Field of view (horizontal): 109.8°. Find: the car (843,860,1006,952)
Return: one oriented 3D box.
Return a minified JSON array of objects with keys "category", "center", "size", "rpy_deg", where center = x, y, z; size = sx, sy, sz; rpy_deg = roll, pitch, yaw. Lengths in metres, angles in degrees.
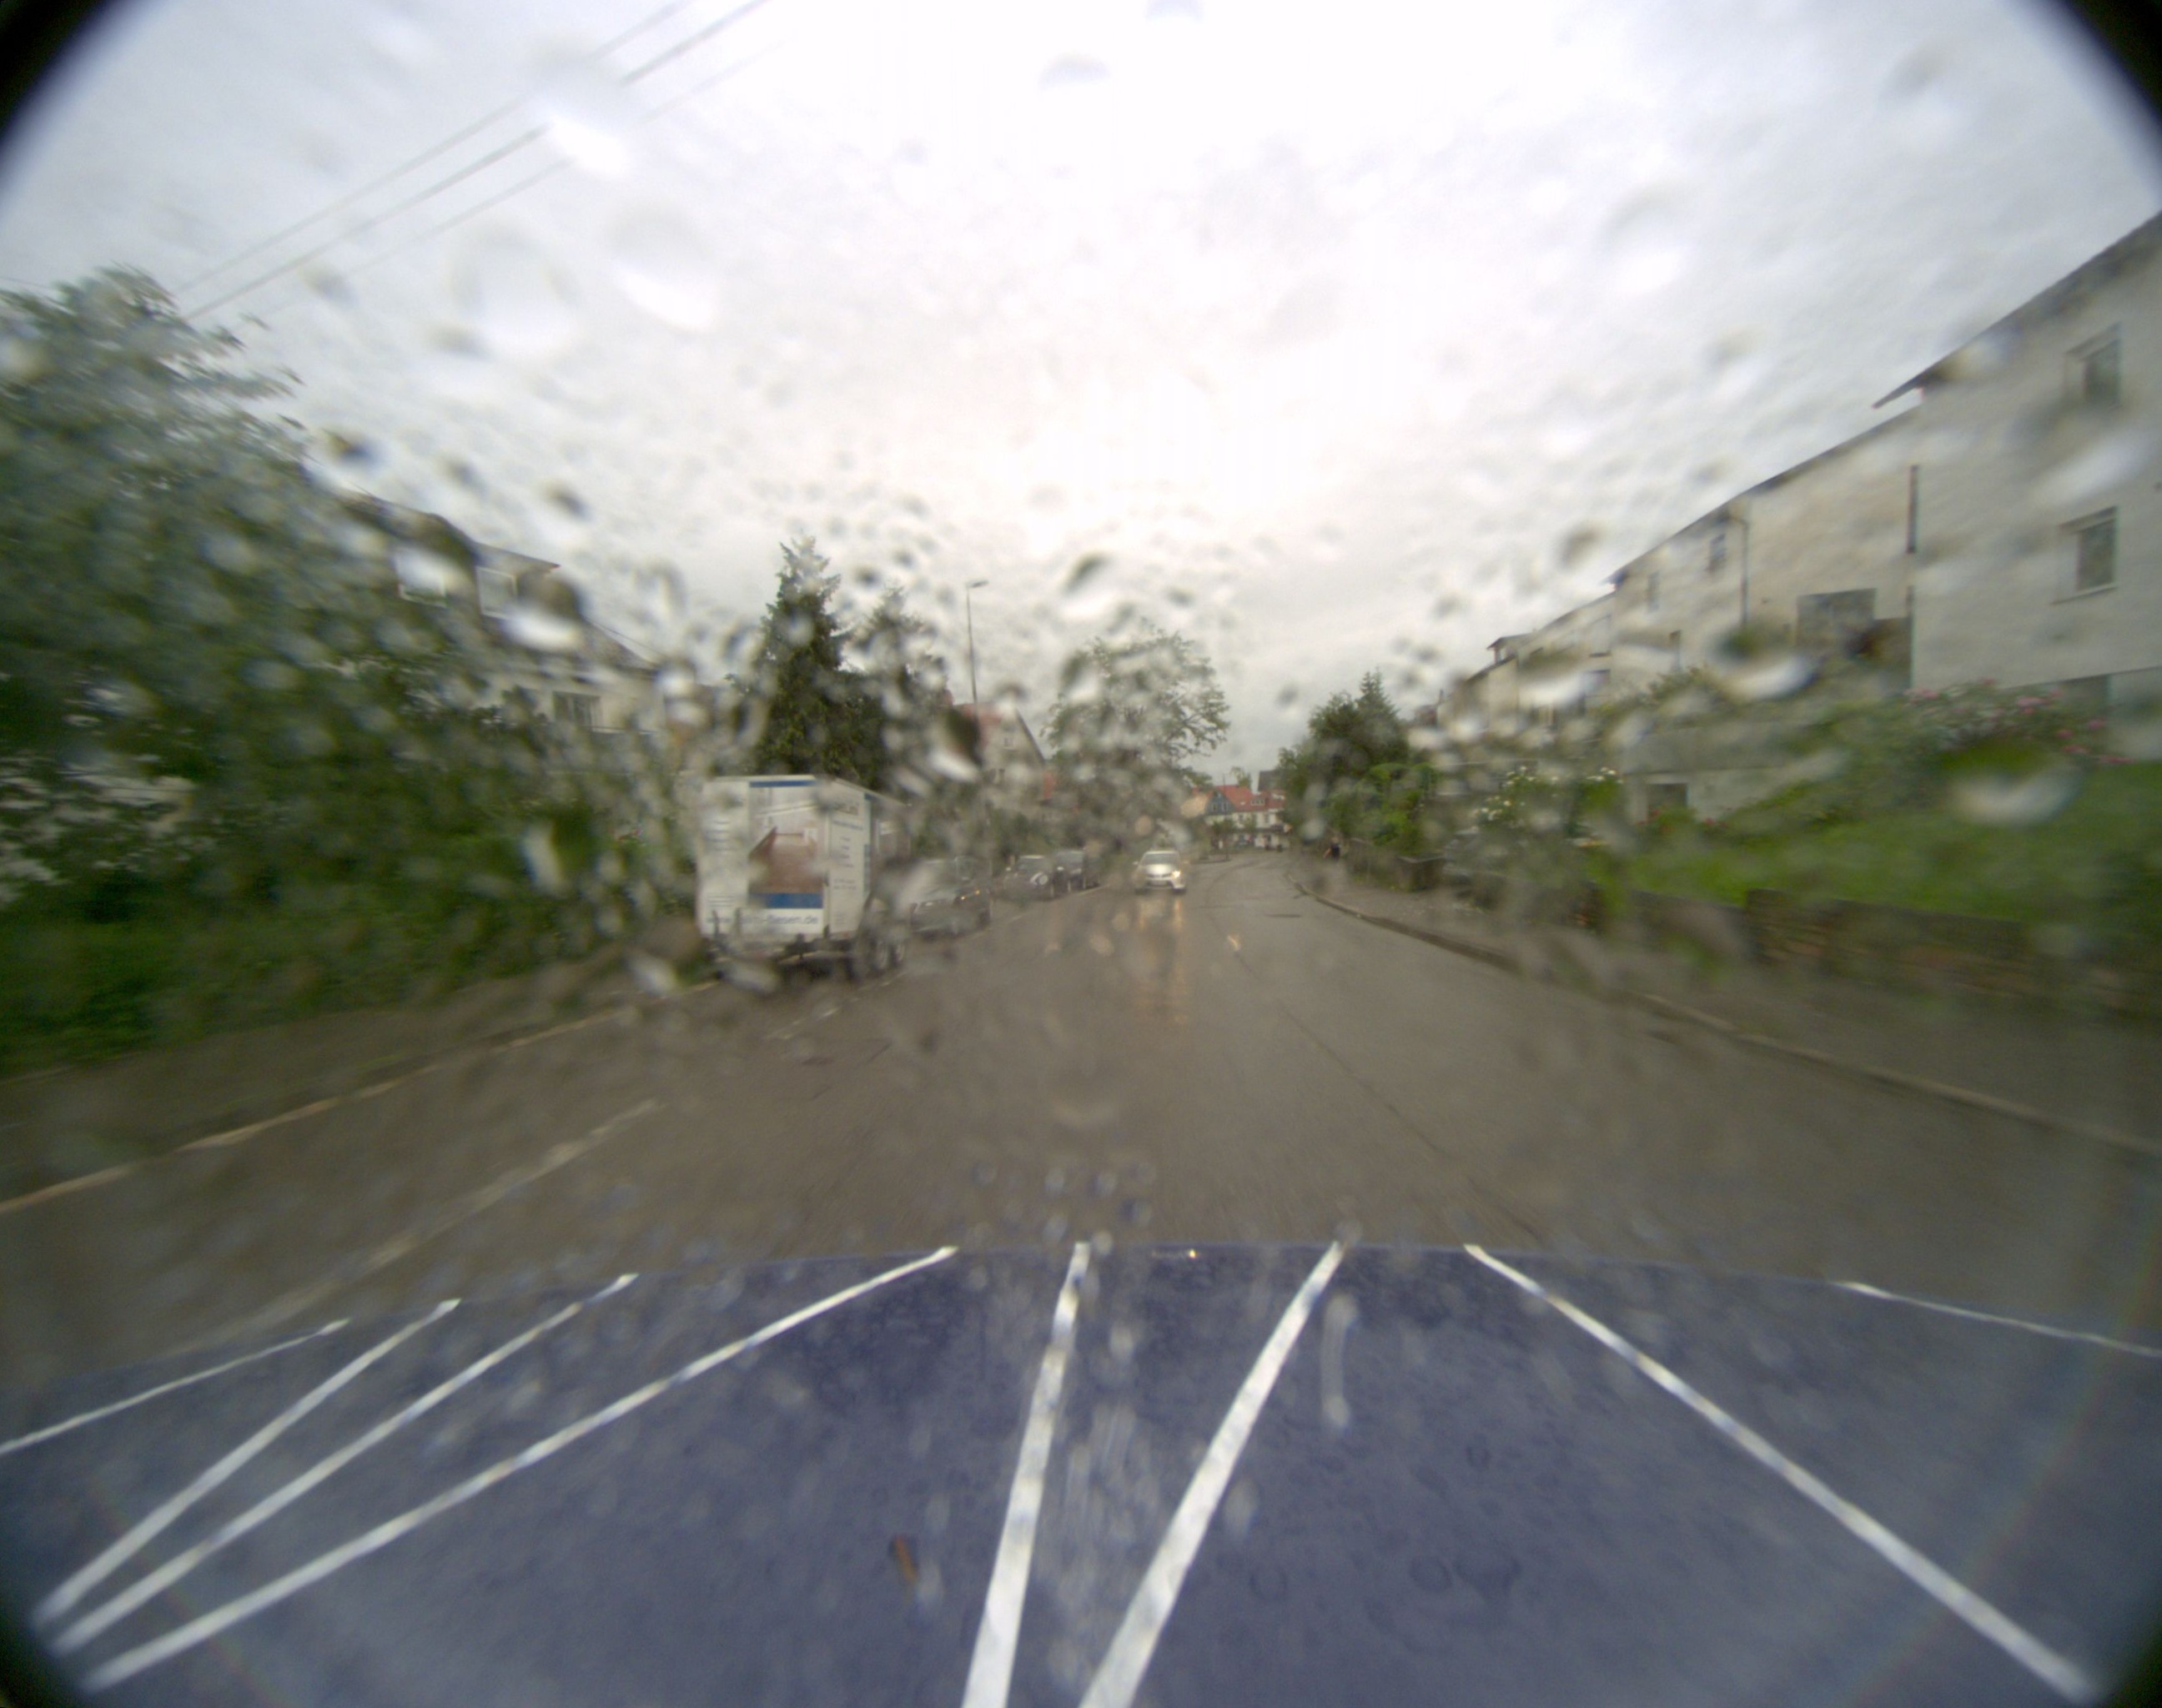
[{"category":"car","center":[-2.917,0.918,15.356],"size":[1.750,1.416,4.705],"rpy_deg":[-2,1,7]}]

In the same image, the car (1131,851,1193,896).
[{"category":"car","center":[3.001,0.650,27.387],"size":[1.861,1.370,4.184],"rpy_deg":[-2,1,10]}]

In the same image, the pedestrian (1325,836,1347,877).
[{"category":"pedestrian","center":[10.541,0.099,31.443],"size":[0.657,1.639,0.733],"rpy_deg":[-3,0,6]}]

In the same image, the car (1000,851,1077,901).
[{"category":"car","center":[-1.329,0.690,25.202],"size":[1.636,1.448,3.703],"rpy_deg":[-2,1,11]}]

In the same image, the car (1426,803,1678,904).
[{"category":"car","center":[10.877,-0.007,17.896],"size":[4.518,1.605,1.933],"rpy_deg":[-8,0,9]}]

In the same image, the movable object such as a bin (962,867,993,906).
[{"category":"movable object such as a bin","center":[-3.088,0.971,22.685],"size":[0.703,1.091,0.701],"rpy_deg":[-2,1,9]}]

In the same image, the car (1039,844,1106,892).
[{"category":"car","center":[-0.250,0.507,30.331],"size":[1.833,1.691,4.463],"rpy_deg":[-2,1,10]}]

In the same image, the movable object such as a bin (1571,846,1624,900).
[{"category":"movable object such as a bin","center":[10.563,0.380,15.566],"size":[0.538,1.013,0.711],"rpy_deg":[-7,0,7]}]

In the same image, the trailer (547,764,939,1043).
[{"category":"trailer","center":[-3.535,0.417,9.480],"size":[1.953,2.442,5.435],"rpy_deg":[-2,1,5]}]

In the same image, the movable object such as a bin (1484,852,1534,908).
[{"category":"movable object such as a bin","center":[8.887,0.536,15.807],"size":[0.538,1.069,0.743],"rpy_deg":[-8,0,7]}]
